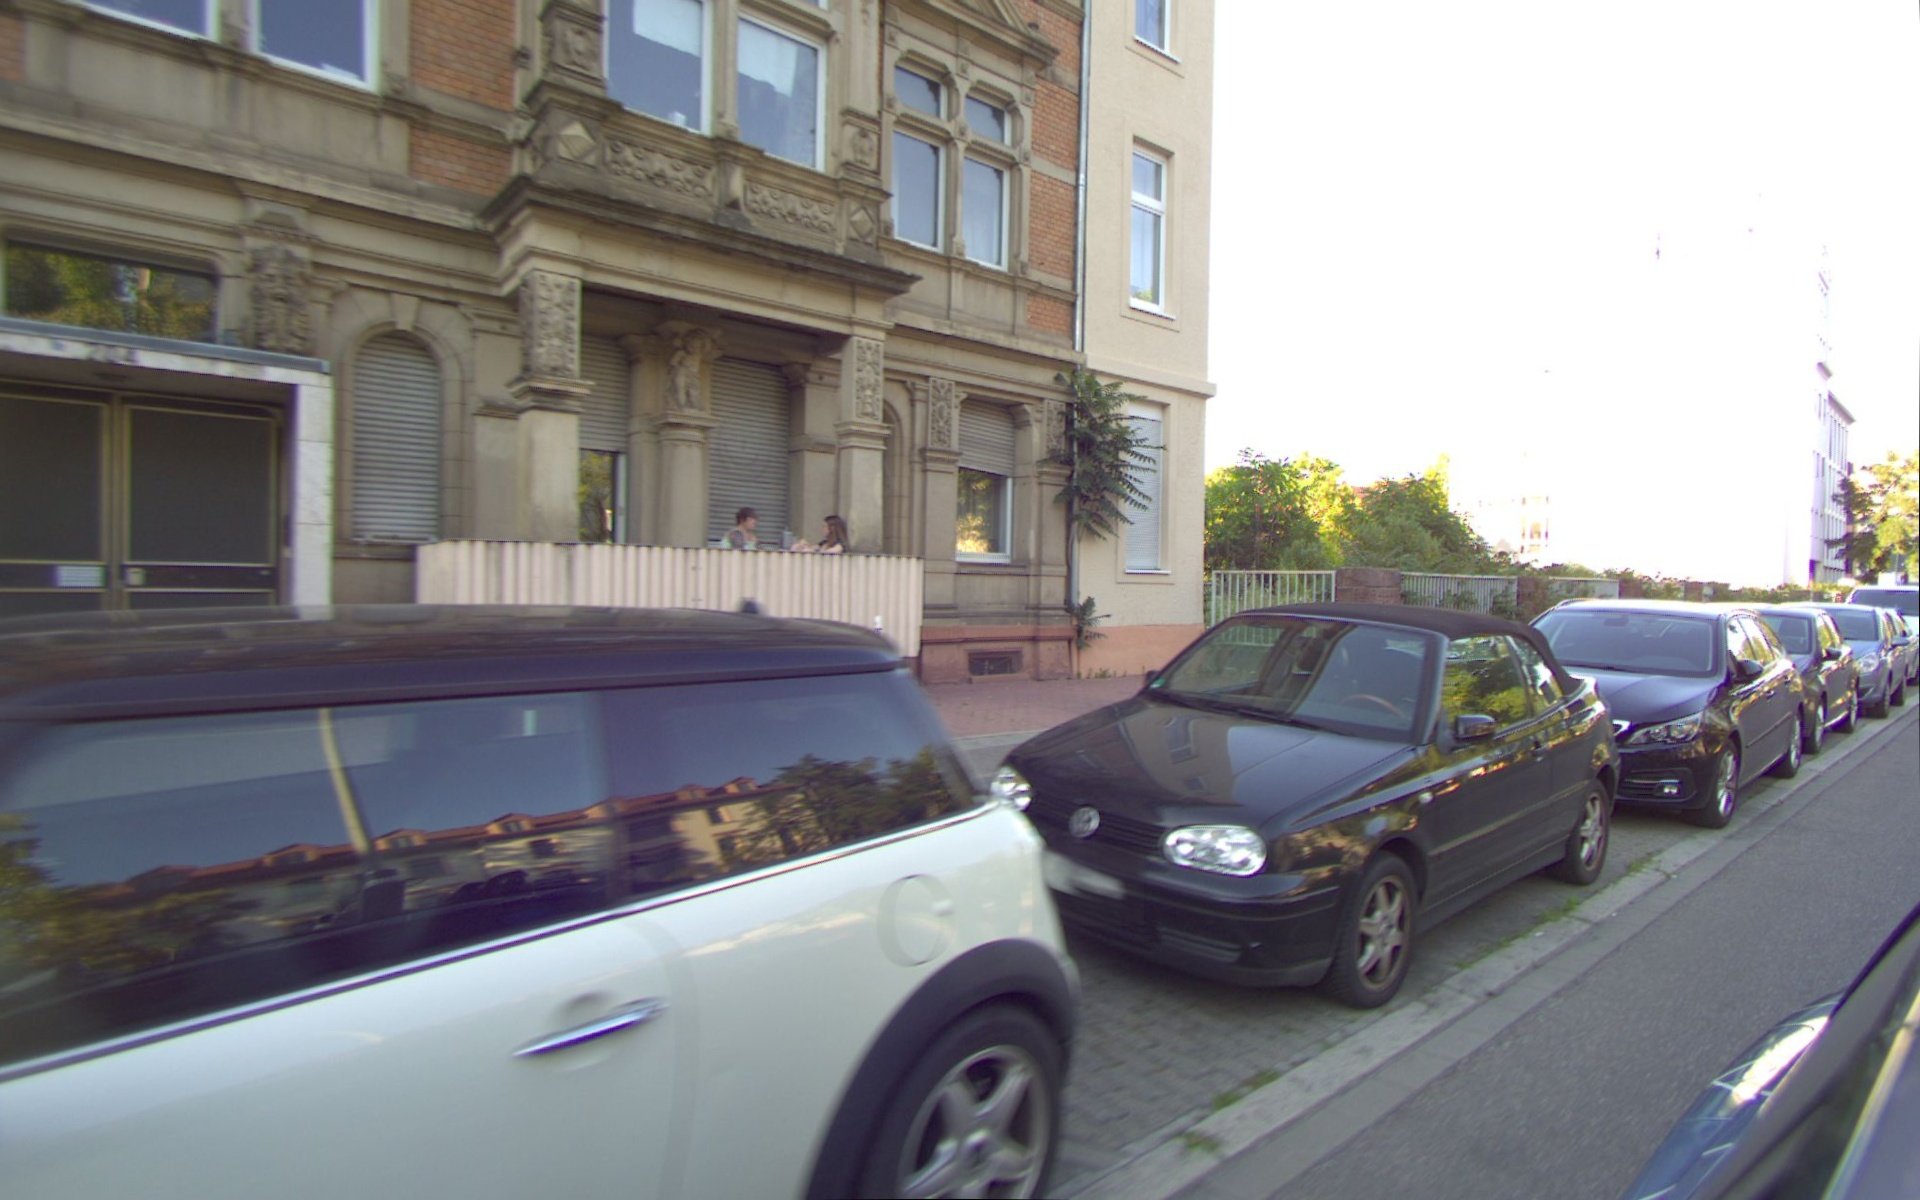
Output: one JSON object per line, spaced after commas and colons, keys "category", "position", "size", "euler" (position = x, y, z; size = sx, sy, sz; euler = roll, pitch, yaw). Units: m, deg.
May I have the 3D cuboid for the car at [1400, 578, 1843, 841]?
{"category": "car", "position": [5.548, 0.634, 8.241], "size": [4.387, 1.465, 1.891], "euler": [0, 5, -42]}

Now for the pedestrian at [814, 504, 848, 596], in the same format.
{"category": "pedestrian", "position": [-1.267, -0.487, 9.932], "size": [0.313, 0.881, 0.310], "euler": [0, -1, -8]}

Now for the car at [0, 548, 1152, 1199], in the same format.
{"category": "car", "position": [-1.489, 0.673, 1.682], "size": [3.614, 1.443, 1.680], "euler": [0, 5, -43]}

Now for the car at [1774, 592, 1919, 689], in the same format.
{"category": "car", "position": [16.259, 0.631, 18.188], "size": [4.562, 1.401, 1.732], "euler": [0, 5, -42]}

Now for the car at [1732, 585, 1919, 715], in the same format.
{"category": "car", "position": [12.591, 0.605, 14.526], "size": [3.827, 1.505, 1.703], "euler": [0, 5, -43]}

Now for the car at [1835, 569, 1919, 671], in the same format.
{"category": "car", "position": [20.696, 0.400, 21.778], "size": [5.087, 1.941, 1.893], "euler": [0, 4, -40]}

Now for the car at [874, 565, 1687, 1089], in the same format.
{"category": "car", "position": [1.871, 0.638, 5.075], "size": [4.267, 1.443, 1.892], "euler": [0, 5, -41]}

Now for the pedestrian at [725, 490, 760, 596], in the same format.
{"category": "pedestrian", "position": [-2.179, -0.562, 10.167], "size": [0.313, 1.042, 0.404], "euler": [0, -1, -8]}

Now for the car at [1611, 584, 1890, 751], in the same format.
{"category": "car", "position": [8.923, 0.612, 11.328], "size": [3.774, 1.443, 1.751], "euler": [0, 5, -42]}
